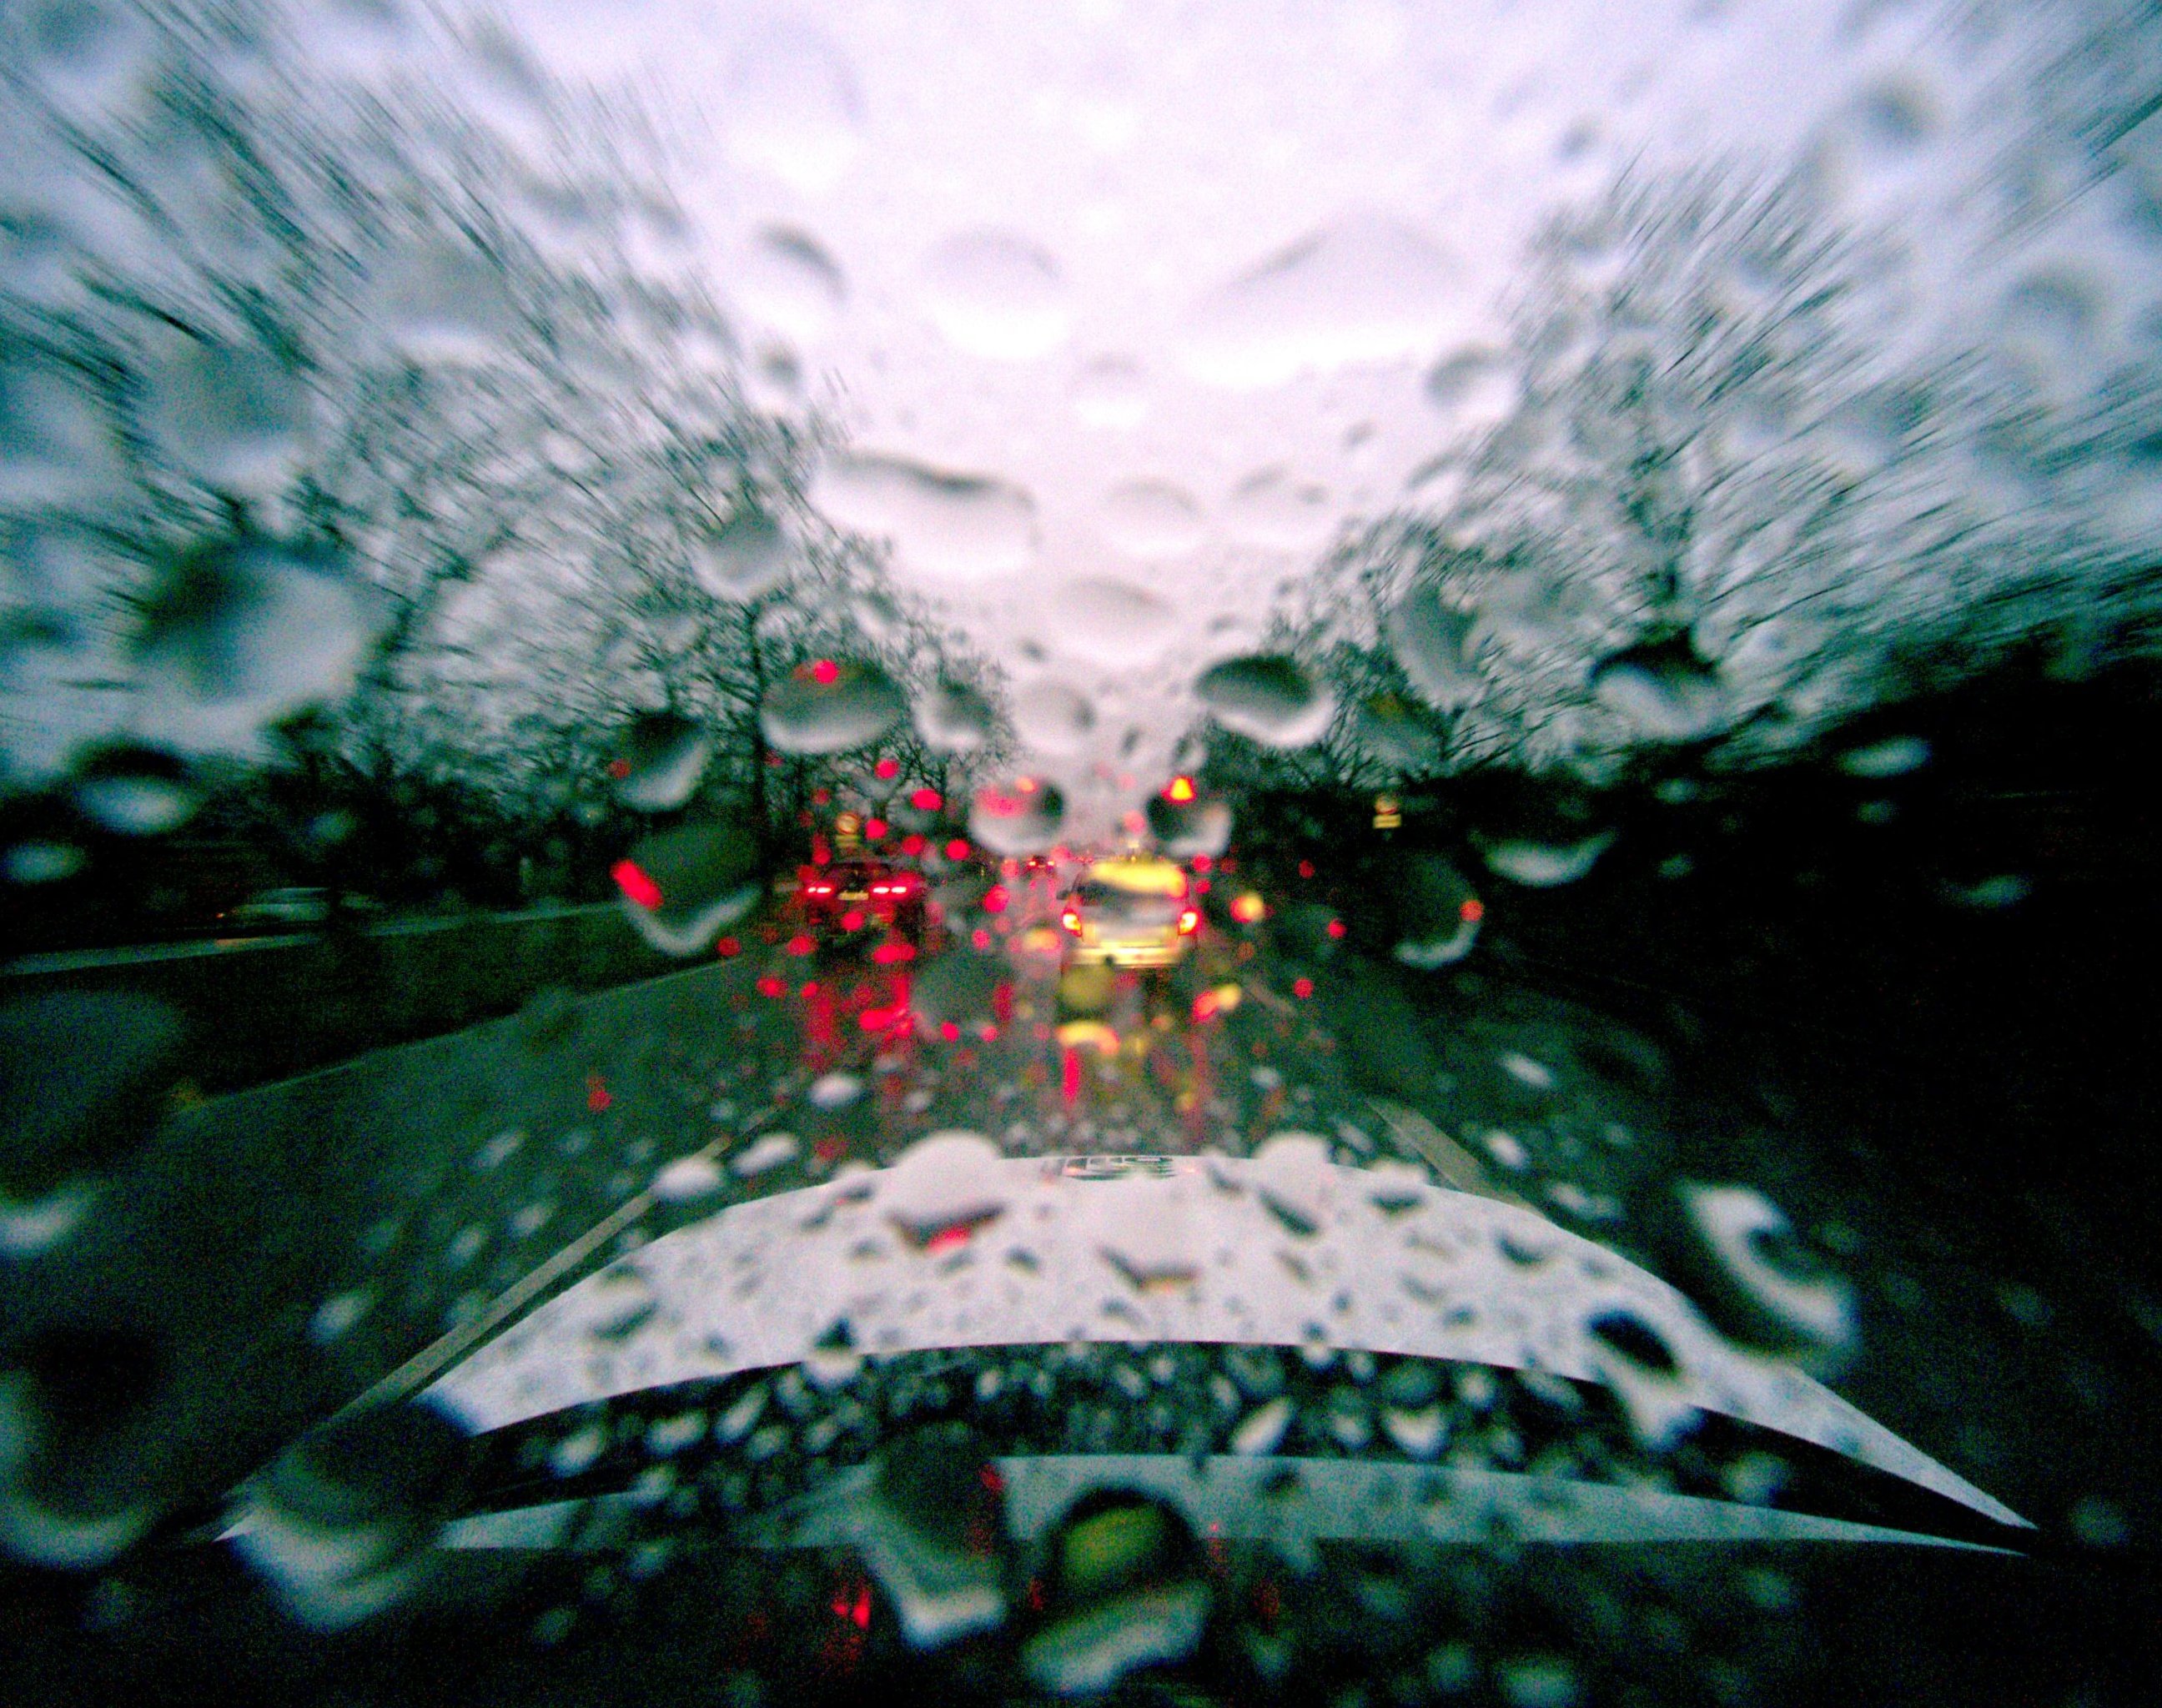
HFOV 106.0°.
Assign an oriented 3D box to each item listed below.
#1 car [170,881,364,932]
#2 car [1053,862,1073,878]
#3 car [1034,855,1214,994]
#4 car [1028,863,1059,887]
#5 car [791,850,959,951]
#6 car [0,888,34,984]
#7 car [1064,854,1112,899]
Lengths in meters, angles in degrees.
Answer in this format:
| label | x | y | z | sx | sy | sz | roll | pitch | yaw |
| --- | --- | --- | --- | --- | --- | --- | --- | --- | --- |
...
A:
| label | x | y | z | sx | sy | sz | roll | pitch | yaw |
| --- | --- | --- | --- | --- | --- | --- | --- | --- | --- |
| car | -26.595 | 1.673 | 26.845 | 1.739 | 1.395 | 4.308 | -2 | -1 | 7 |
| car | -1.799 | 1.632 | 84.152 | 1.782 | 1.545 | 4.002 | -2 | -1 | 2 |
| car | 0.558 | 0.818 | 11.201 | 1.986 | 1.500 | 4.139 | -2 | -1 | 2 |
| car | -2.618 | 1.433 | 57.166 | 1.782 | 1.545 | 4.002 | -2 | -1 | 2 |
| car | -3.626 | 0.760 | 15.212 | 1.987 | 1.601 | 4.308 | 0 | 0 | 0 |
| car | -19.980 | 1.474 | 12.879 | 1.611 | 1.681 | 3.983 | -1 | 0 | 2 |
| car | 0.352 | 0.912 | 35.211 | 1.890 | 1.767 | 4.310 | -2 | -1 | 2 |
